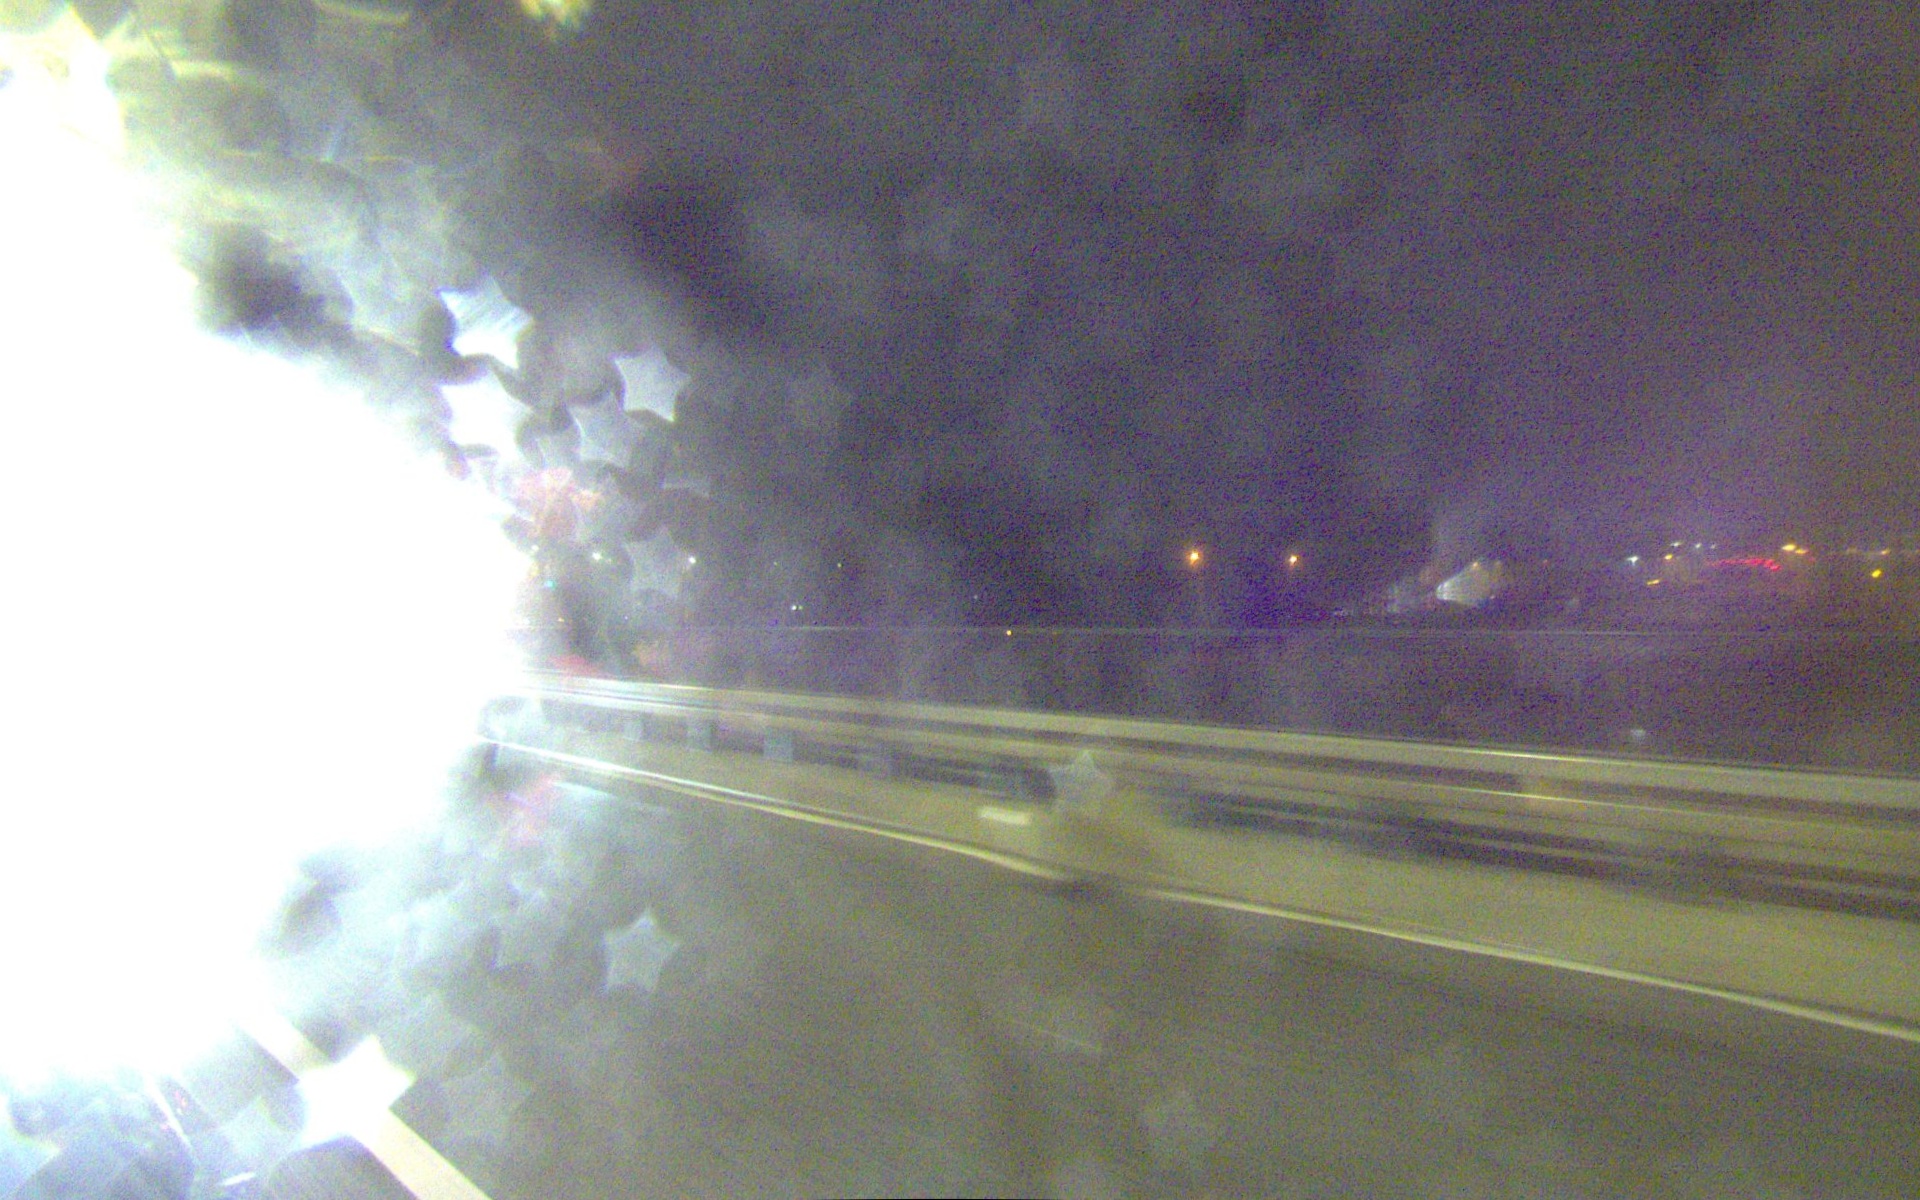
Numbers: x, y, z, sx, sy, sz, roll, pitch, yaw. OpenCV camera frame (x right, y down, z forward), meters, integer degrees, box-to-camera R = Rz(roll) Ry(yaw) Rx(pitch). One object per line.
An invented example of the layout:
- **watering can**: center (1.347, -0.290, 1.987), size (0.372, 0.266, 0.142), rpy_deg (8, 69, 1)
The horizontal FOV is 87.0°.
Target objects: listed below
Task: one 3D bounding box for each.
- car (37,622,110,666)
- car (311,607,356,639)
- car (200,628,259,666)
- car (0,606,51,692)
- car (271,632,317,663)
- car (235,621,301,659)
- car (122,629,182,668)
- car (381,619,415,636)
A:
- **car**: center (-33.196, 1.646, 37.972), size (1.498, 1.537, 3.116), rpy_deg (0, -2, -31)
- **car**: center (-38.375, 1.447, 62.045), size (1.729, 1.875, 4.013), rpy_deg (2, -2, -23)
- **car**: center (-45.011, 2.866, 62.439), size (1.628, 2.027, 4.012), rpy_deg (-8, 1, -20)
- **car**: center (-24.309, 1.184, 25.169), size (1.967, 2.029, 4.010), rpy_deg (-1, -1, -34)
- **car**: center (-49.682, 3.538, 75.598), size (1.629, 2.027, 4.012), rpy_deg (-8, 1, -18)
- **car**: center (-33.034, 1.859, 48.449), size (1.994, 1.732, 4.997), rpy_deg (1, -1, -27)
- **car**: center (-38.010, 2.239, 47.647), size (1.284, 1.540, 3.056), rpy_deg (-8, 3, -23)
- **car**: center (-45.556, 2.238, 82.156), size (1.789, 1.415, 4.061), rpy_deg (1, -2, -20)
